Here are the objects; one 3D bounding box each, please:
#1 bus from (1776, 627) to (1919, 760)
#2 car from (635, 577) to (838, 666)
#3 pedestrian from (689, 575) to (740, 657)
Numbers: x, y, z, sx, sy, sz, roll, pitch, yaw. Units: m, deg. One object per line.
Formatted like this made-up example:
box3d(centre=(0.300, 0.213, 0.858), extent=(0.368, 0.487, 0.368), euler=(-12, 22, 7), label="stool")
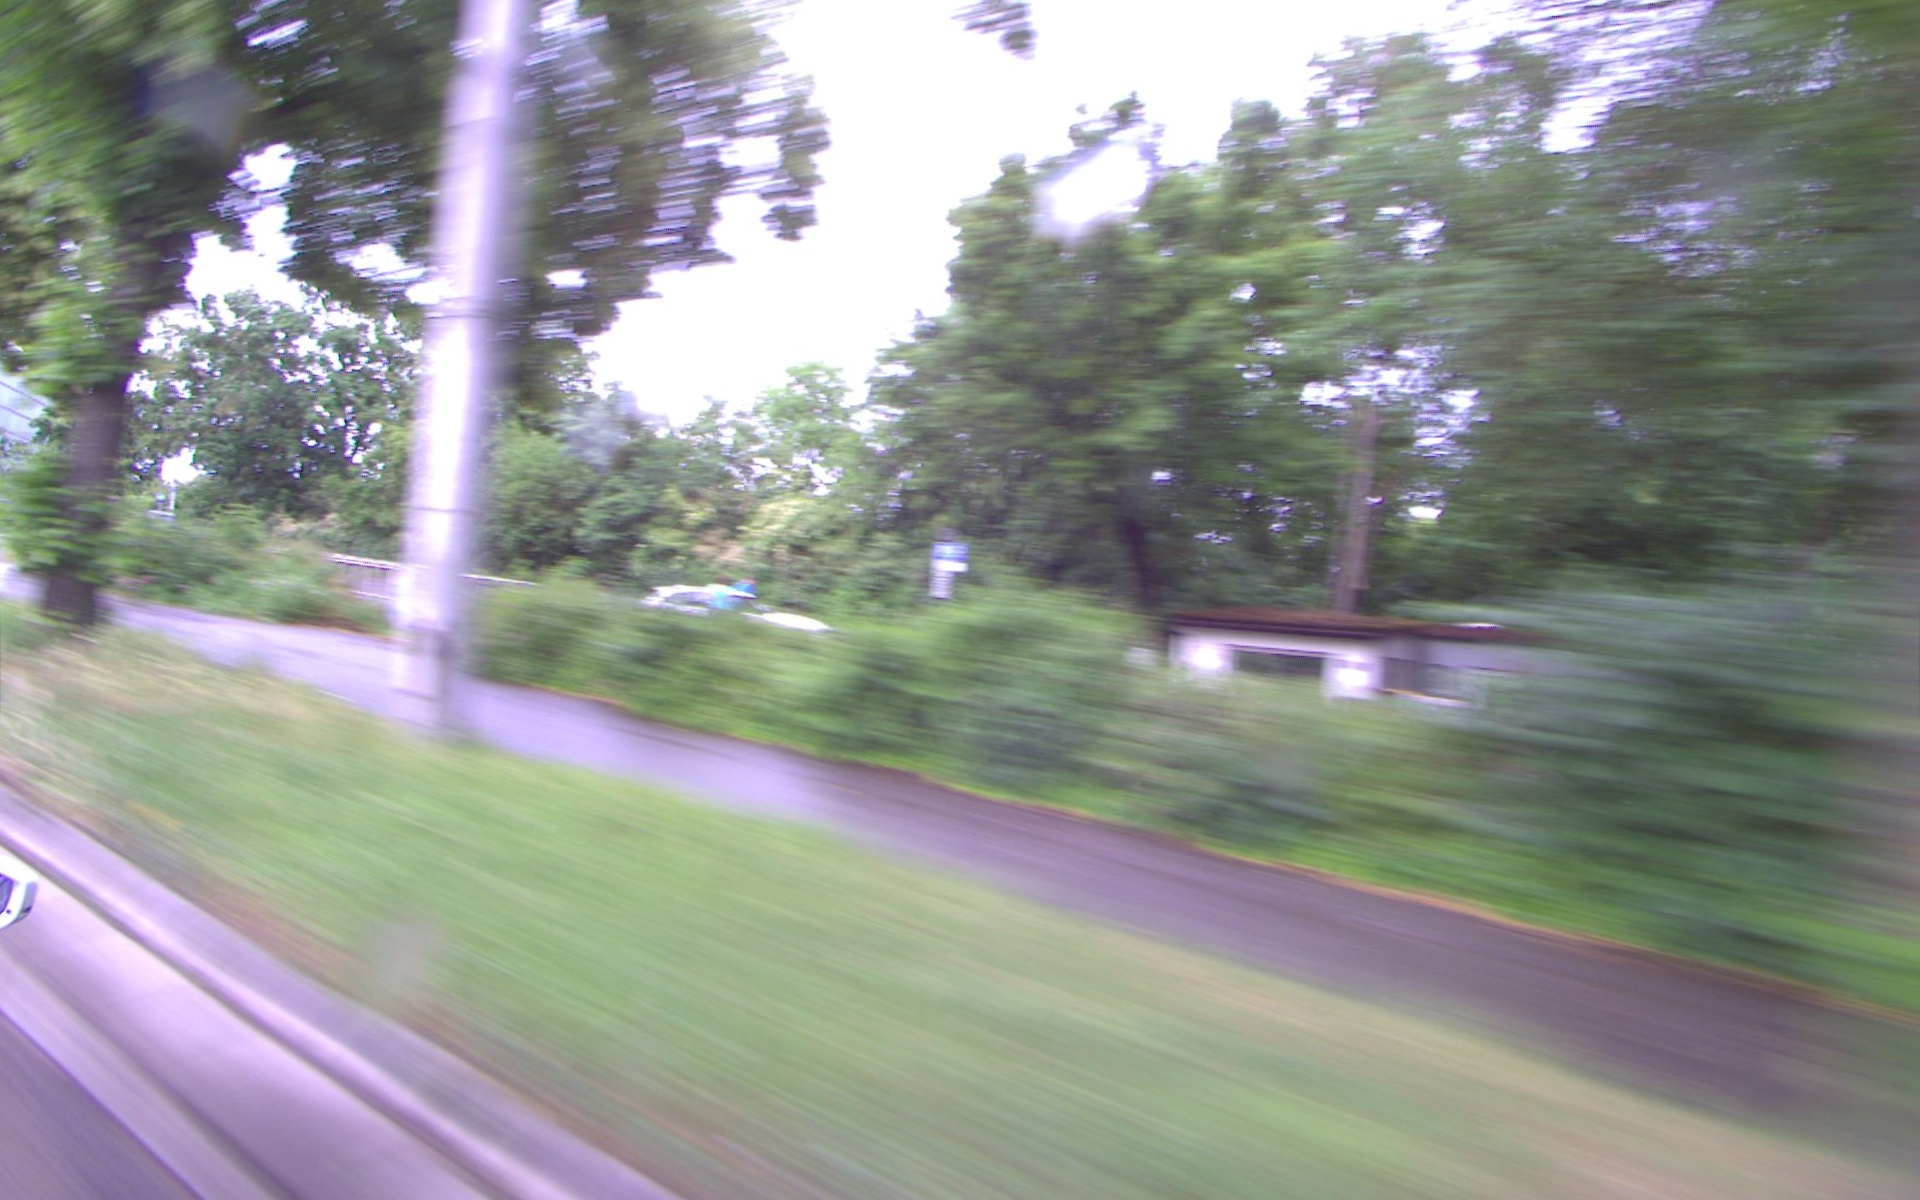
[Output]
box3d(centre=(22.908, 2.367, 22.357), extent=(7.058, 2.733, 2.252), euler=(6, -1, 37), label="bus")
box3d(centre=(-5.398, 0.540, 24.837), extent=(4.571, 1.598, 1.998), euler=(7, -1, -9), label="car")
box3d(centre=(-5.663, 0.360, 23.240), extent=(0.927, 1.794, 0.895), euler=(5, 1, -9), label="pedestrian")
